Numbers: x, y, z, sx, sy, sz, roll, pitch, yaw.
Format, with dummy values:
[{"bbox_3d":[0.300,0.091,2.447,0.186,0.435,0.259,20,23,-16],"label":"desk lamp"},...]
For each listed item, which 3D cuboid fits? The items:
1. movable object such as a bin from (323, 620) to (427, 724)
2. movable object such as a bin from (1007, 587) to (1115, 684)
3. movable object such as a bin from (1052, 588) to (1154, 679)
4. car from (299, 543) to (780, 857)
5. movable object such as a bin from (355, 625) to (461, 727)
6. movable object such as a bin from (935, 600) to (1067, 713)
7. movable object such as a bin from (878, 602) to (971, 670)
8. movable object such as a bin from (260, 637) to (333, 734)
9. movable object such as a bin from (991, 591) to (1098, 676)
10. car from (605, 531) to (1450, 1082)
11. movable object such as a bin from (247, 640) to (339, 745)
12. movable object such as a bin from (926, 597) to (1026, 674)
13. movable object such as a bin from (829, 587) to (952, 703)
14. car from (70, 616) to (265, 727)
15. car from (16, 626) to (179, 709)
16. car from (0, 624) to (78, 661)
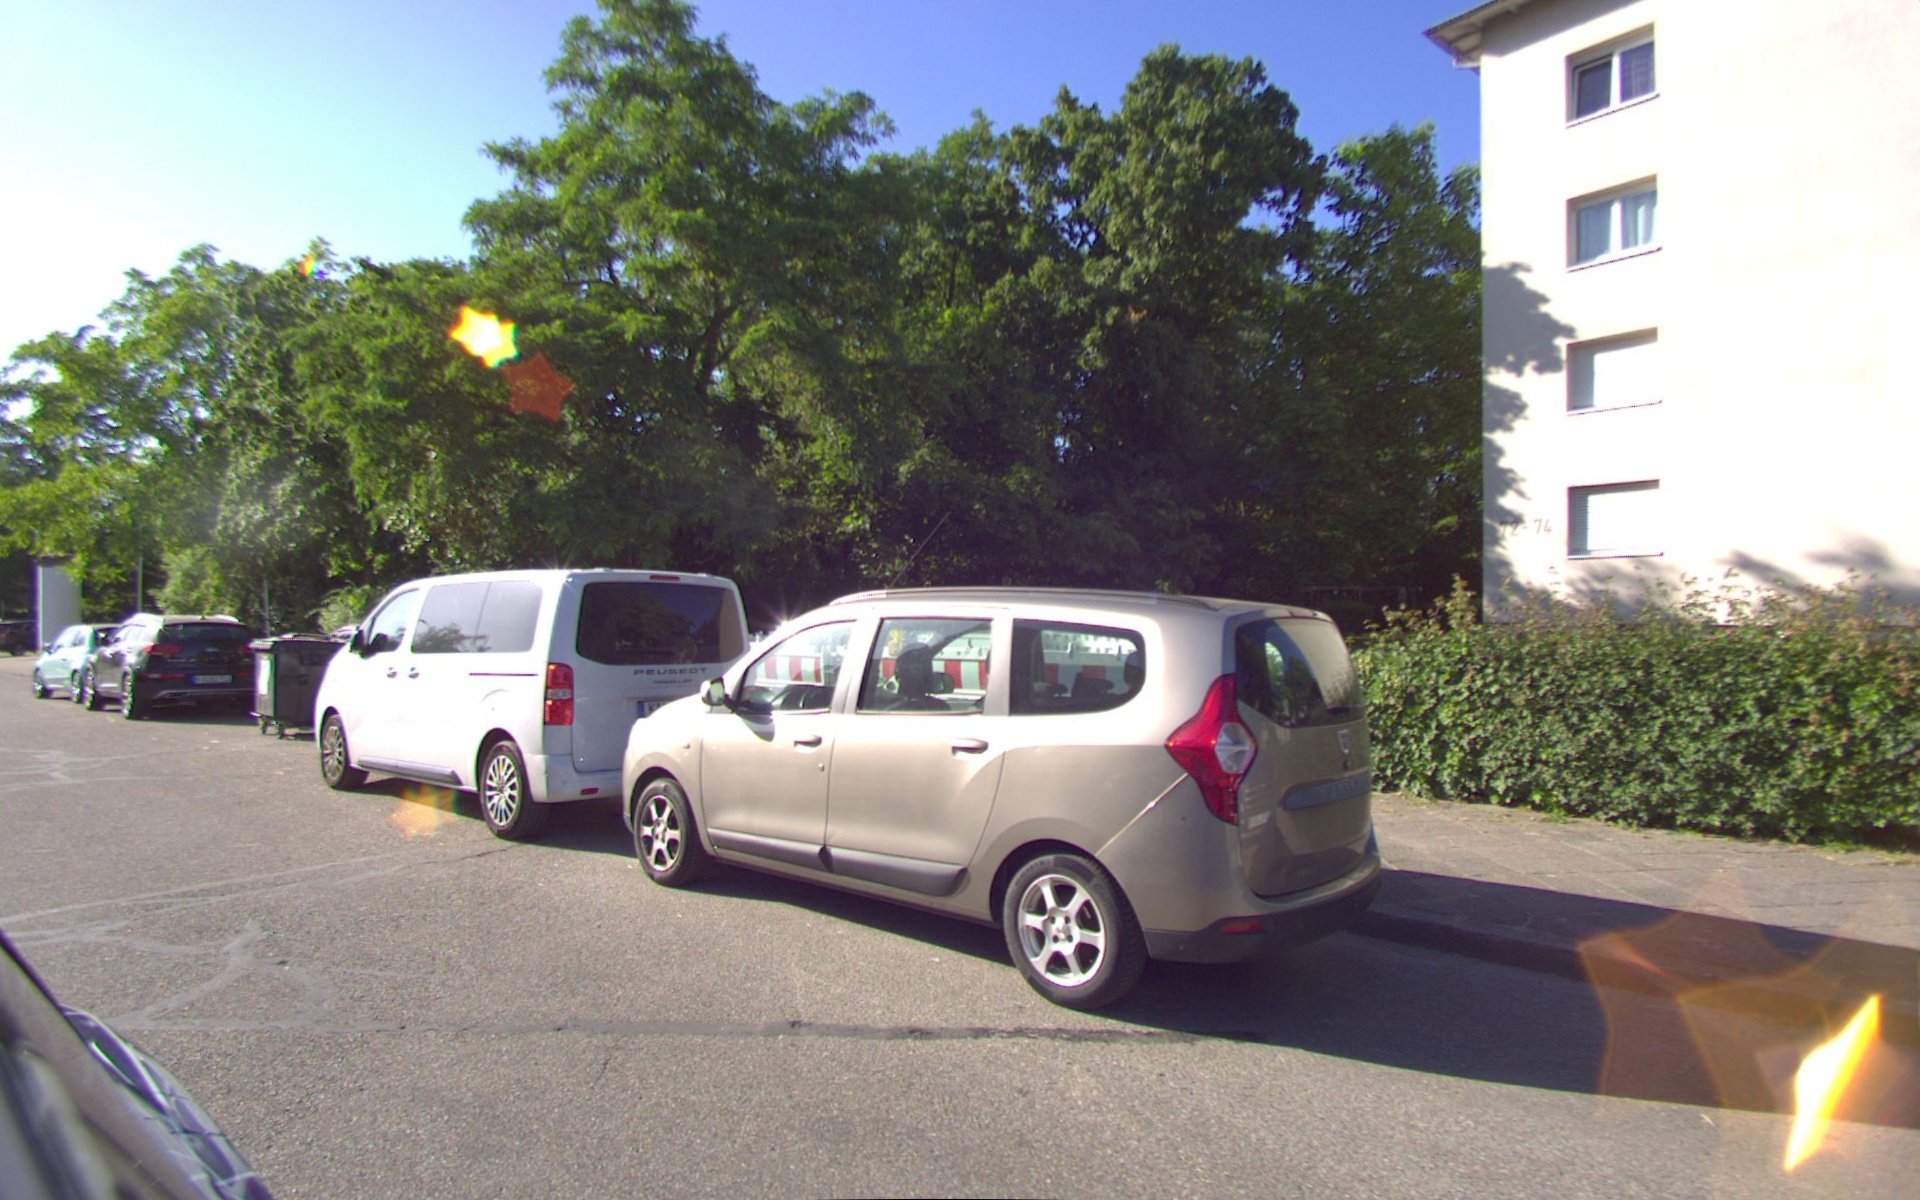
[{"bbox_3d":[-8.915,1.071,15.434,0.890,1.479,1.054,-1,0,30],"label":"movable object such as a bin"},{"bbox_3d":[1.652,0.567,16.516,1.279,1.500,1.245,-2,-2,41],"label":"movable object such as a bin"},{"bbox_3d":[2.476,0.572,17.538,1.279,1.500,1.245,-2,-2,41],"label":"movable object such as a bin"},{"bbox_3d":[-3.757,0.701,8.604,4.667,1.976,1.844,-2,-2,40],"label":"car"},{"bbox_3d":[-8.139,1.094,14.932,0.890,1.410,1.054,-2,-1,30],"label":"movable object such as a bin"},{"bbox_3d":[0.557,0.723,13.489,1.260,1.412,1.264,-1,-2,37],"label":"movable object such as a bin"},{"bbox_3d":[-0.743,0.734,21.083,1.260,1.365,1.511,1,-2,-43],"label":"movable object such as a bin"},{"bbox_3d":[-9.717,1.218,14.804,1.269,1.350,0.602,-2,-2,43],"label":"movable object such as a bin"},{"bbox_3d":[1.564,0.605,18.768,1.509,1.500,1.262,-2,-2,43],"label":"movable object such as a bin"},{"bbox_3d":[-0.024,0.714,5.239,4.339,1.735,1.539,-2,-2,42],"label":"car"},{"bbox_3d":[-9.028,1.215,13.684,0.794,1.326,1.322,1,-3,-45],"label":"movable object such as a bin"},{"bbox_3d":[0.300,0.681,19.845,1.260,1.419,1.511,1,-2,-43],"label":"movable object such as a bin"},{"bbox_3d":[-0.987,0.624,14.541,1.276,1.563,1.248,-1,-2,34],"label":"movable object such as a bin"},{"bbox_3d":[-13.493,1.151,17.143,4.245,1.651,1.658,-2,-3,39],"label":"car"},{"bbox_3d":[-17.491,1.311,20.499,3.409,1.539,1.613,-2,-2,33],"label":"car"},{"bbox_3d":[-45.266,2.042,48.686,1.894,1.718,4.180,0,-2,4],"label":"car"}]
